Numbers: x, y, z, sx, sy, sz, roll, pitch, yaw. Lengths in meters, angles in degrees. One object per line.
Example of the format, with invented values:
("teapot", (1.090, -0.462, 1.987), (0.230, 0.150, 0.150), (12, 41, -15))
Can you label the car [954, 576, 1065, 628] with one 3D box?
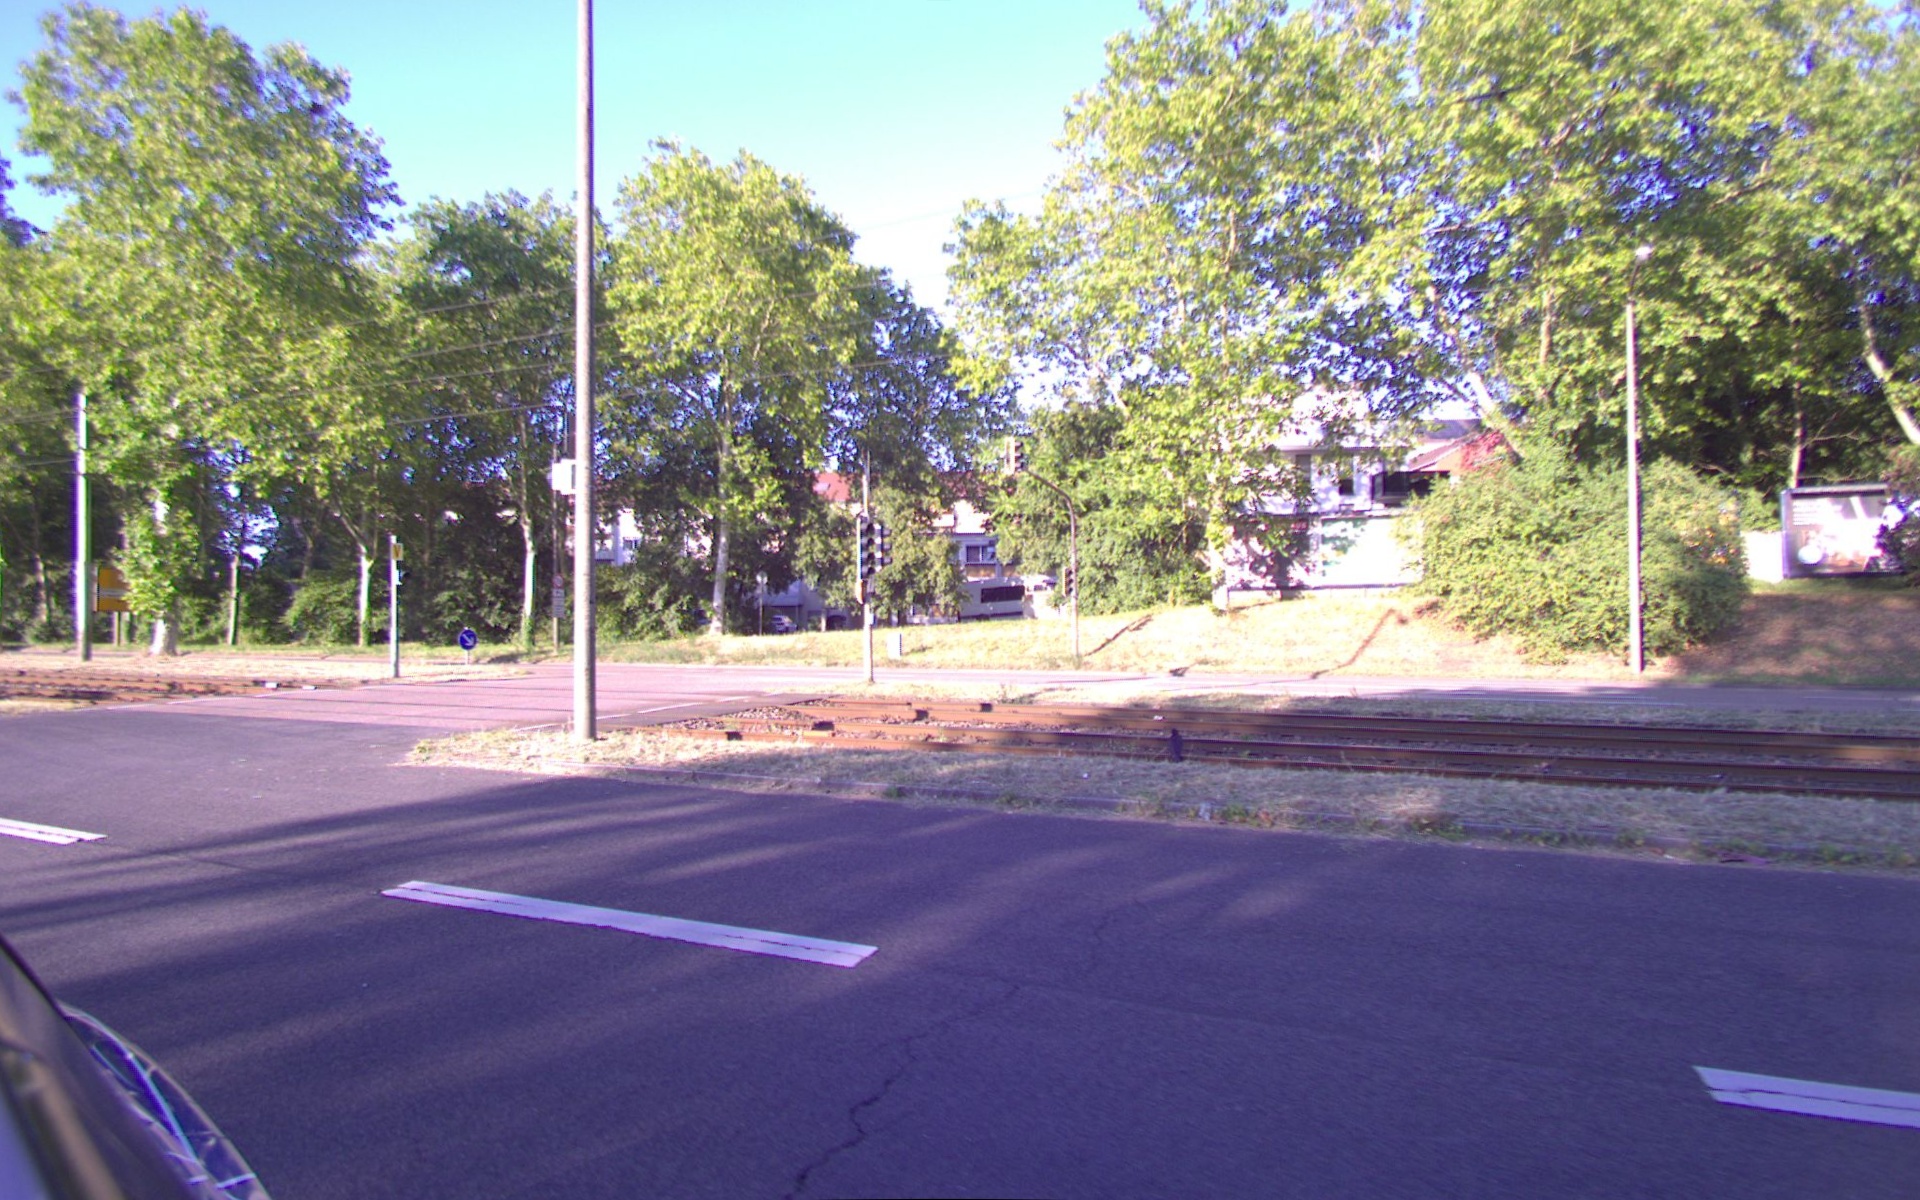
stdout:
("car", (2.581, 0.153, 53.084), (5.602, 2.532, 1.789), (-2, -3, 28))
